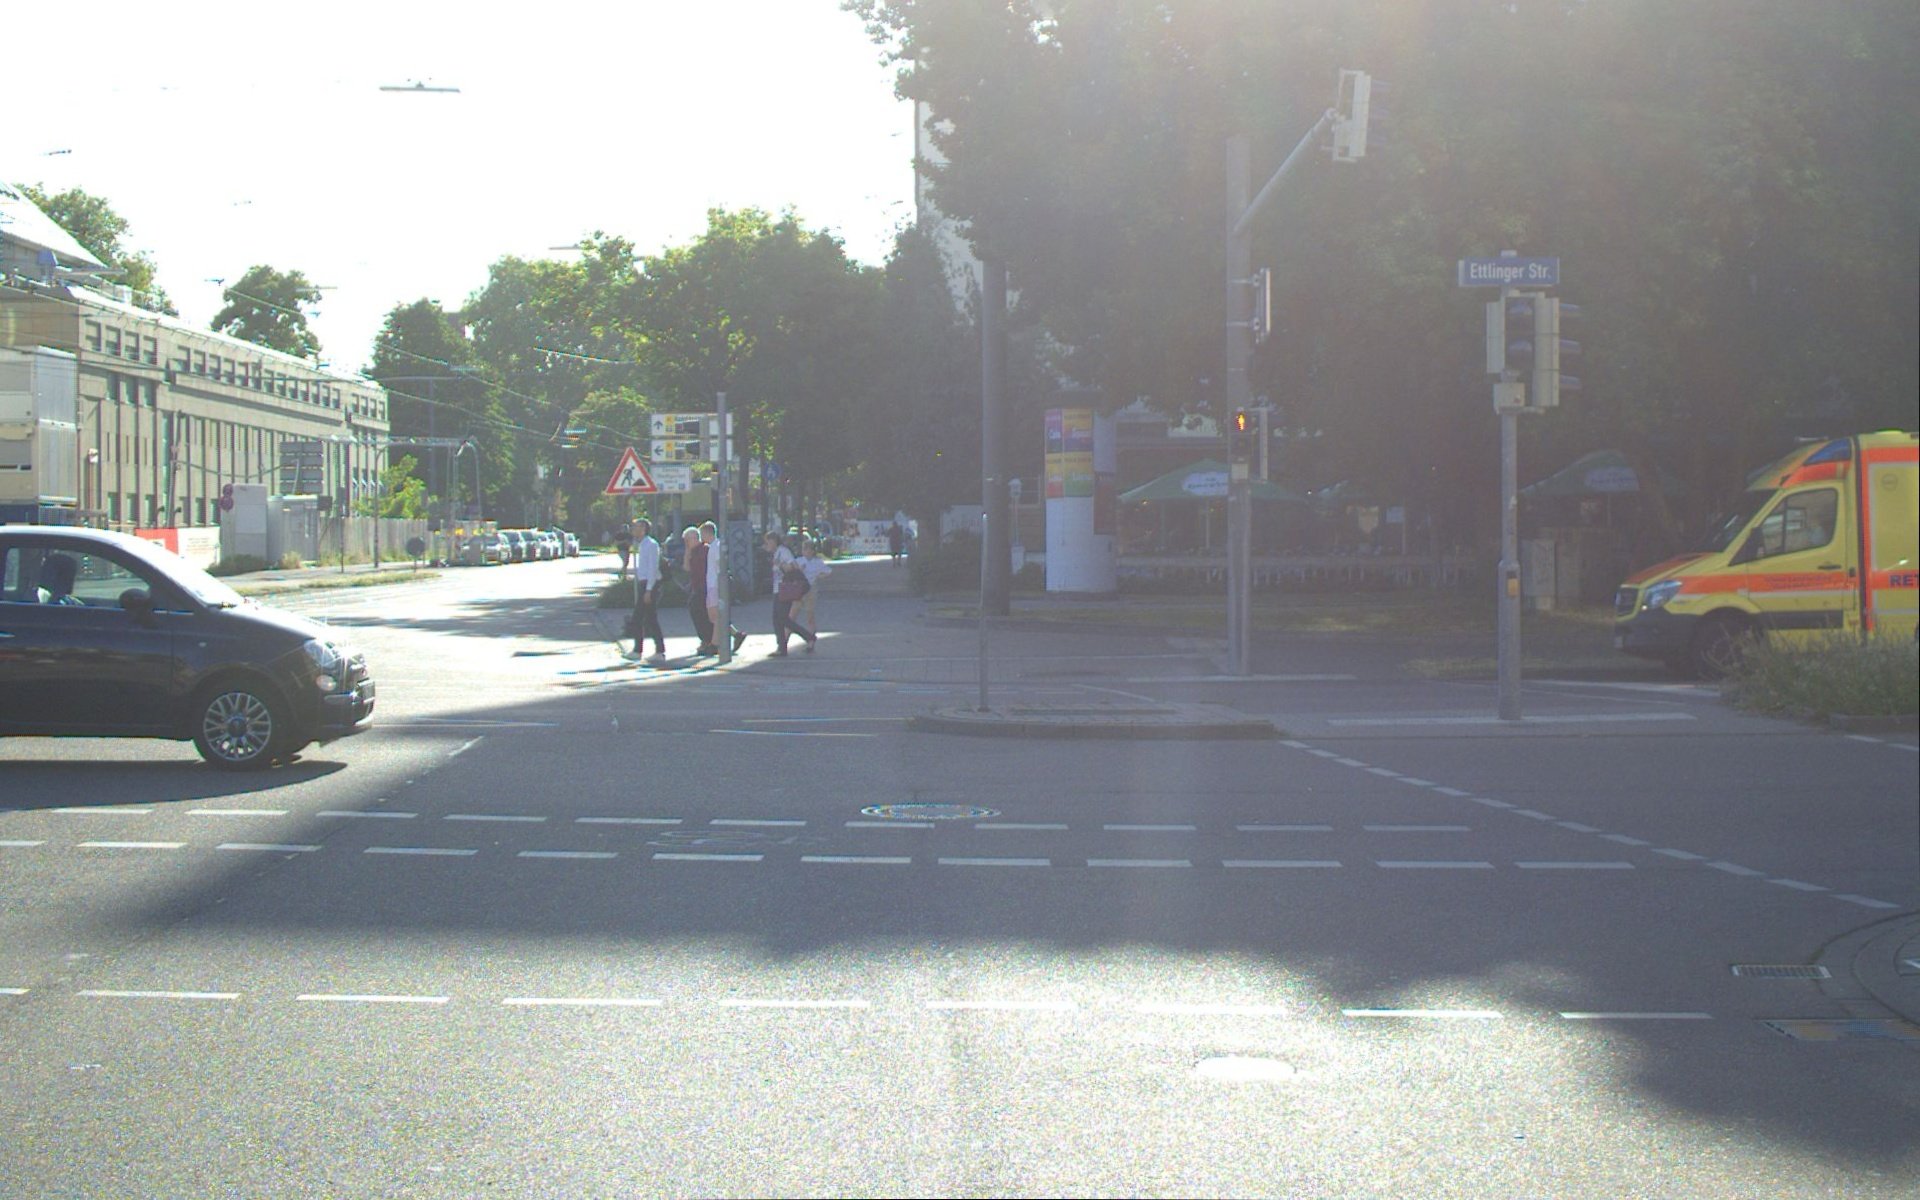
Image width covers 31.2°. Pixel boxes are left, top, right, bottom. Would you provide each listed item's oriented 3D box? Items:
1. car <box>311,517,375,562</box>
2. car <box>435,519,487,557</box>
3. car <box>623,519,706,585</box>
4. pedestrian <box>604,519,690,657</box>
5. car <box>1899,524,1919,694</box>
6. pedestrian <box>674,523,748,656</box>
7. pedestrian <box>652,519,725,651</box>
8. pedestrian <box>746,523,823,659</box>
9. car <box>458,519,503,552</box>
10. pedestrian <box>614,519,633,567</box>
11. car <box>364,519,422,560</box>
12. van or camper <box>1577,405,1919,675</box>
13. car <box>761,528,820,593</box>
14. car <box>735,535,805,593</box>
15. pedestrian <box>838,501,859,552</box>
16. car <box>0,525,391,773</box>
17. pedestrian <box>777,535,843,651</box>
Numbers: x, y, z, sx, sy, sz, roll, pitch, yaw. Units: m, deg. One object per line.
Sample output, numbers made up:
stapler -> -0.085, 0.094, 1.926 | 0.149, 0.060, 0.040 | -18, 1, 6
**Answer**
car -> -23.930, -2.353, 133.456 | 1.819, 1.706, 3.806 | 0, 1, -1
car -> -22.634, -2.805, 155.941 | 1.819, 1.706, 3.806 | 0, 1, -1
car -> -7.010, -1.131, 81.849 | 1.684, 1.495, 3.509 | 1, 0, -1
pedestrian -> -4.091, -0.168, 44.896 | 0.965, 1.778, 0.780 | -1, 1, -17
car -> 11.436, 0.143, 32.950 | 4.314, 1.641, 1.888 | 1, 0, 0
pedestrian -> -3.370, -0.153, 46.491 | 0.847, 1.778, 0.780 | -1, 1, -17
pedestrian -> -3.732, -0.212, 47.240 | 0.847, 1.778, 0.780 | -1, 1, -17
pedestrian -> -2.327, -0.125, 45.640 | 0.847, 1.778, 0.780 | -1, 1, -17
car -> -22.320, -2.990, 160.166 | 1.609, 1.493, 3.806 | 0, 1, -1
pedestrian -> -10.609, -1.796, 108.267 | 0.524, 1.479, 0.437 | 1, 0, -2
car -> -23.792, -2.538, 144.364 | 1.819, 1.706, 3.806 | 0, 1, -1
van or camper -> 10.524, -0.617, 38.703 | 6.709, 2.852, 2.910 | 1, 0, 4
car -> -5.290, -1.222, 107.622 | 1.684, 1.955, 3.509 | 1, 0, -1
car -> -5.068, -0.953, 92.010 | 1.684, 1.495, 3.509 | 1, 0, -1
pedestrian -> -7.976, -5.253, 245.926 | 1.401, 3.584, 1.568 | 1, 0, -1
car -> -5.471, 0.283, 21.747 | 3.530, 1.501, 1.523 | 0, 1, -3
pedestrian -> -2.029, -0.096, 46.460 | 0.762, 1.553, 0.588 | -1, 1, -17
